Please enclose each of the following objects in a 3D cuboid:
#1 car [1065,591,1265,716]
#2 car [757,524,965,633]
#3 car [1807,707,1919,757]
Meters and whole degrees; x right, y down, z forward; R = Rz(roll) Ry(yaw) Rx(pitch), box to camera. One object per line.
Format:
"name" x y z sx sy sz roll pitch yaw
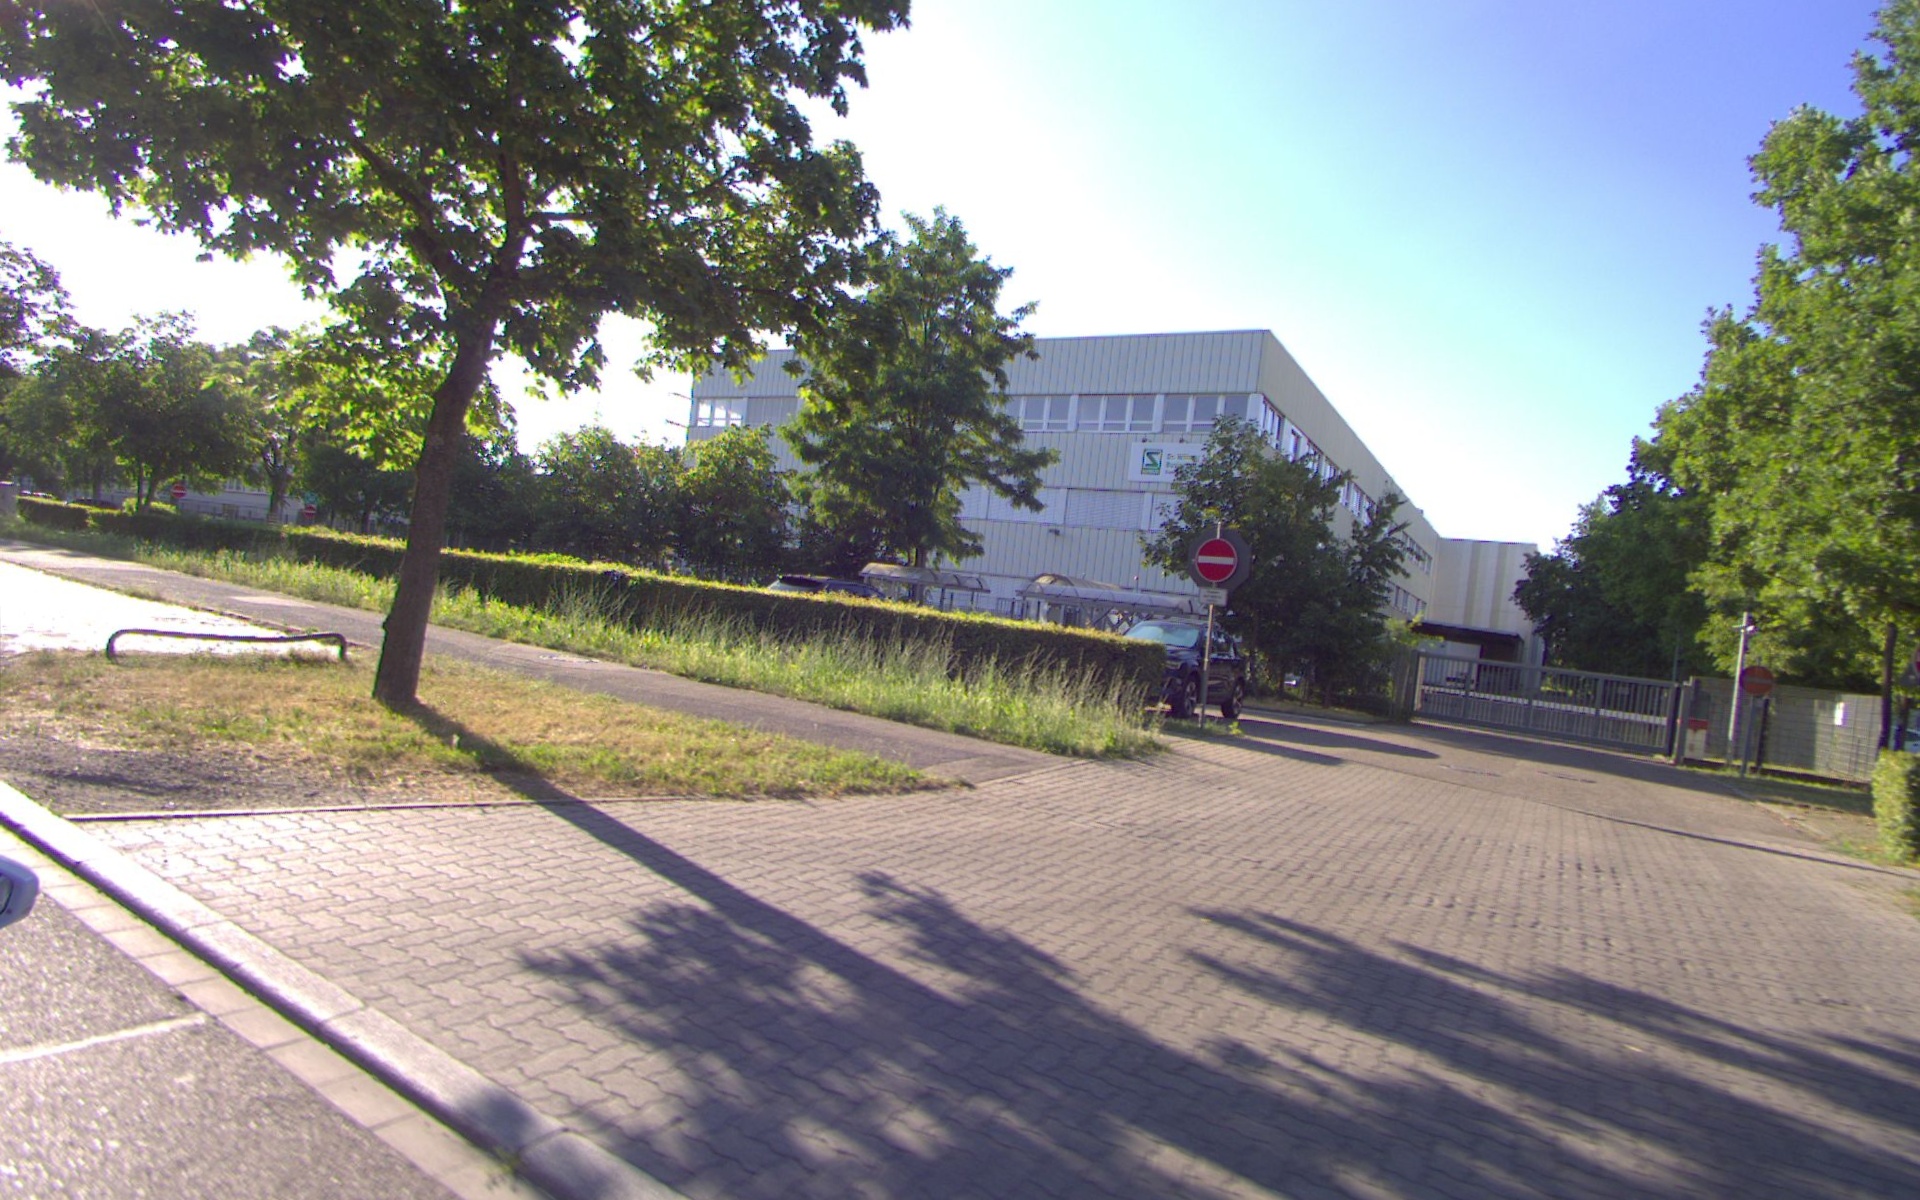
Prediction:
"car" 3.819 1.044 18.036 2.024 1.725 4.440 8 -2 30
"car" -1.974 -0.379 21.374 1.967 1.727 4.362 8 0 33
"car" 37.775 5.461 41.652 3.721 1.415 1.867 8 1 31
